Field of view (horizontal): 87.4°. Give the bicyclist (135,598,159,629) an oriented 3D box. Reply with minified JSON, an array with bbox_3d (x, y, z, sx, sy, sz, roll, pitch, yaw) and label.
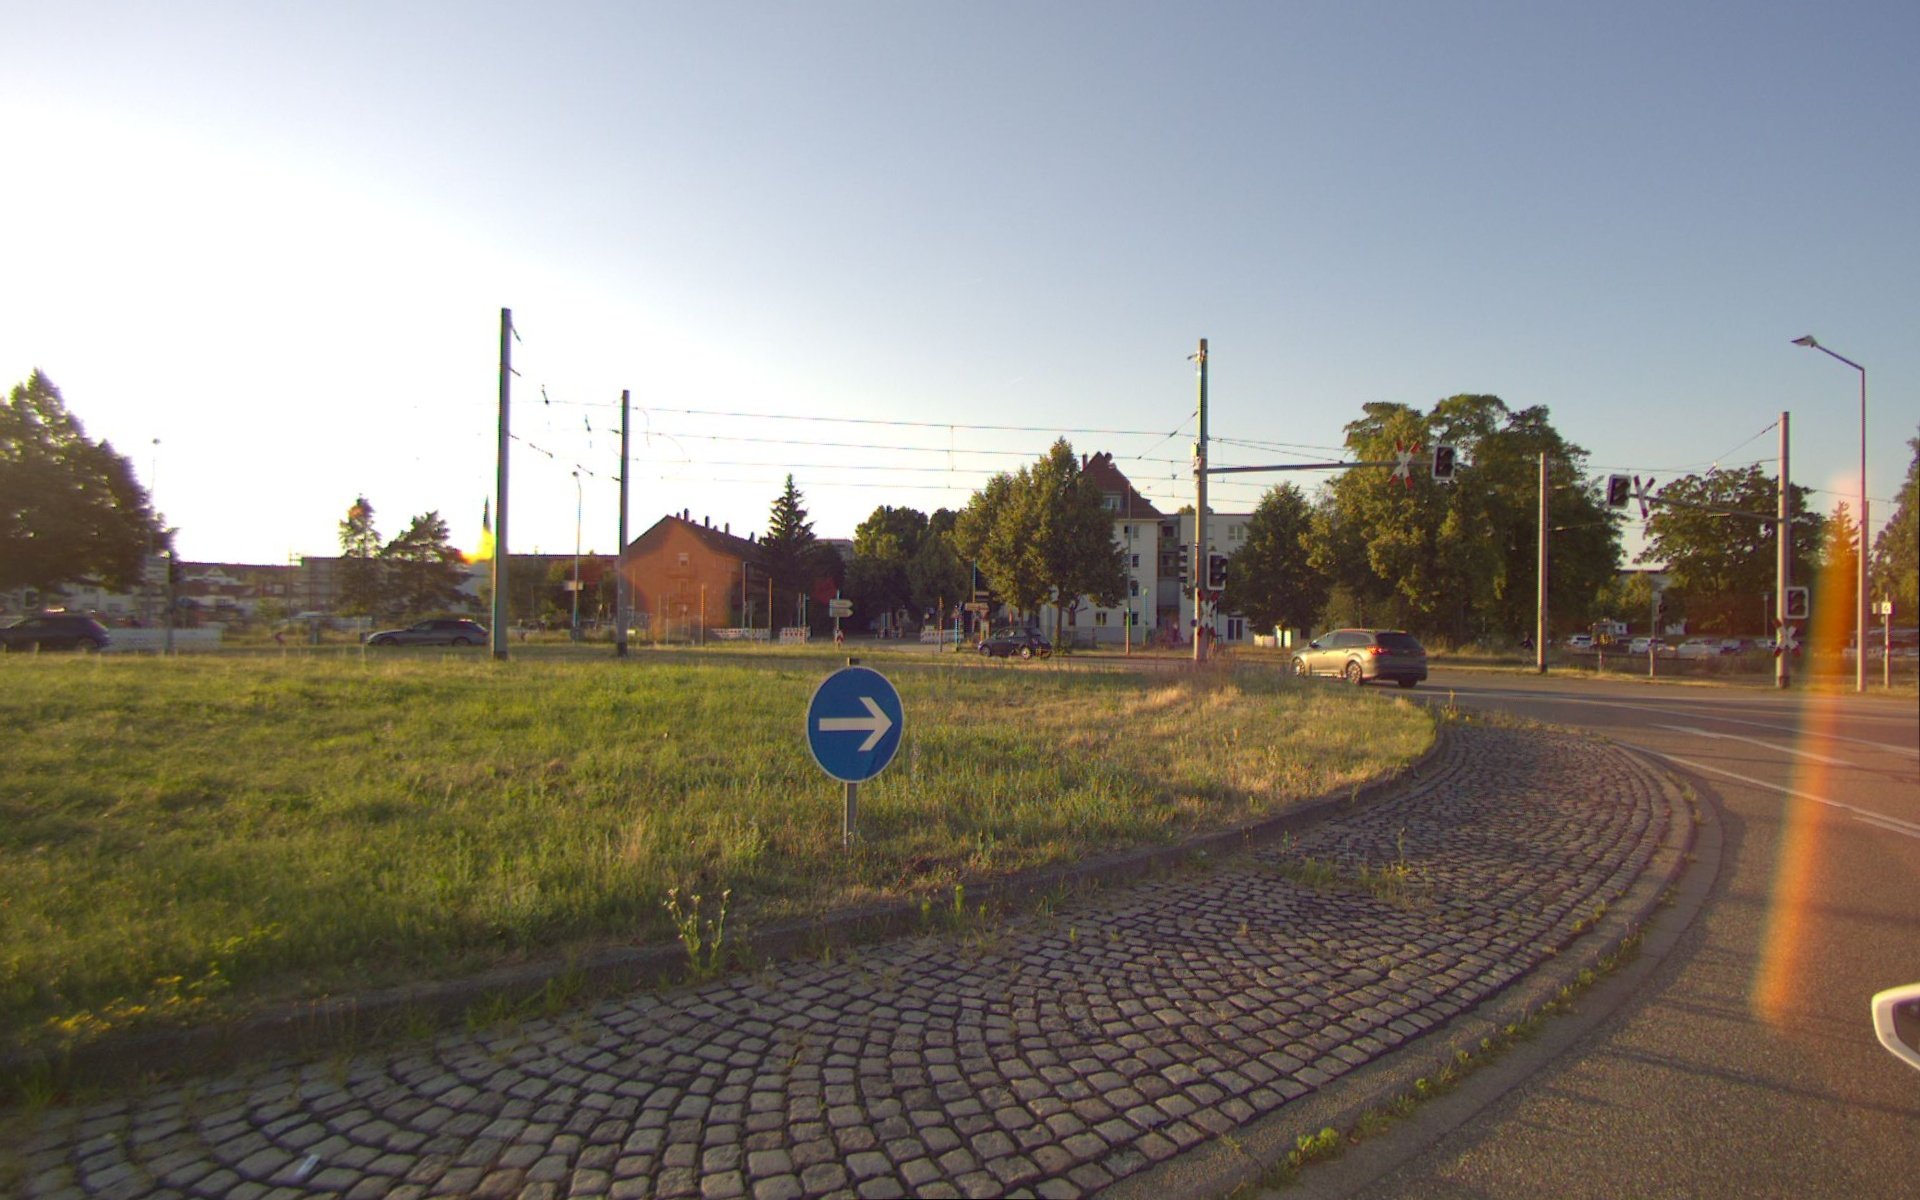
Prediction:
[{"bbox_3d":[-43.589,0.734,53.854,0.786,1.655,0.693,0,-1,-18],"label":"bicyclist"}]

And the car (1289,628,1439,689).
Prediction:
[{"bbox_3d":[10.682,1.498,26.900,1.721,1.486,4.125,0,-1,-12],"label":"car"}]

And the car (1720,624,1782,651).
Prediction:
[{"bbox_3d":[63.520,2.988,80.706,1.960,2.126,4.001,1,-1,2],"label":"car"}]

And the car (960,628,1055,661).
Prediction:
[{"bbox_3d":[2.154,2.000,45.929,4.069,1.465,1.745,-1,-1,37],"label":"car"}]

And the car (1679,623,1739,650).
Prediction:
[{"bbox_3d":[60.414,2.926,81.085,1.960,2.126,4.001,1,-1,2],"label":"car"}]

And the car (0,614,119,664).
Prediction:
[{"bbox_3d":[-34.016,1.409,37.038,4.559,1.771,1.731,1,-1,-40],"label":"car"}]

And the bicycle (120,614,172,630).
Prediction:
[{"bbox_3d":[-43.711,1.187,53.928,2.102,0.857,0.510,0,-1,-19],"label":"bicycle"}]

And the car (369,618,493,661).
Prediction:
[{"bbox_3d":[-22.716,1.677,43.339,4.531,1.771,1.742,1,-1,-23],"label":"car"}]

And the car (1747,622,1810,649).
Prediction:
[{"bbox_3d":[65.924,2.847,80.979,1.960,2.126,4.001,1,-1,2],"label":"car"}]
